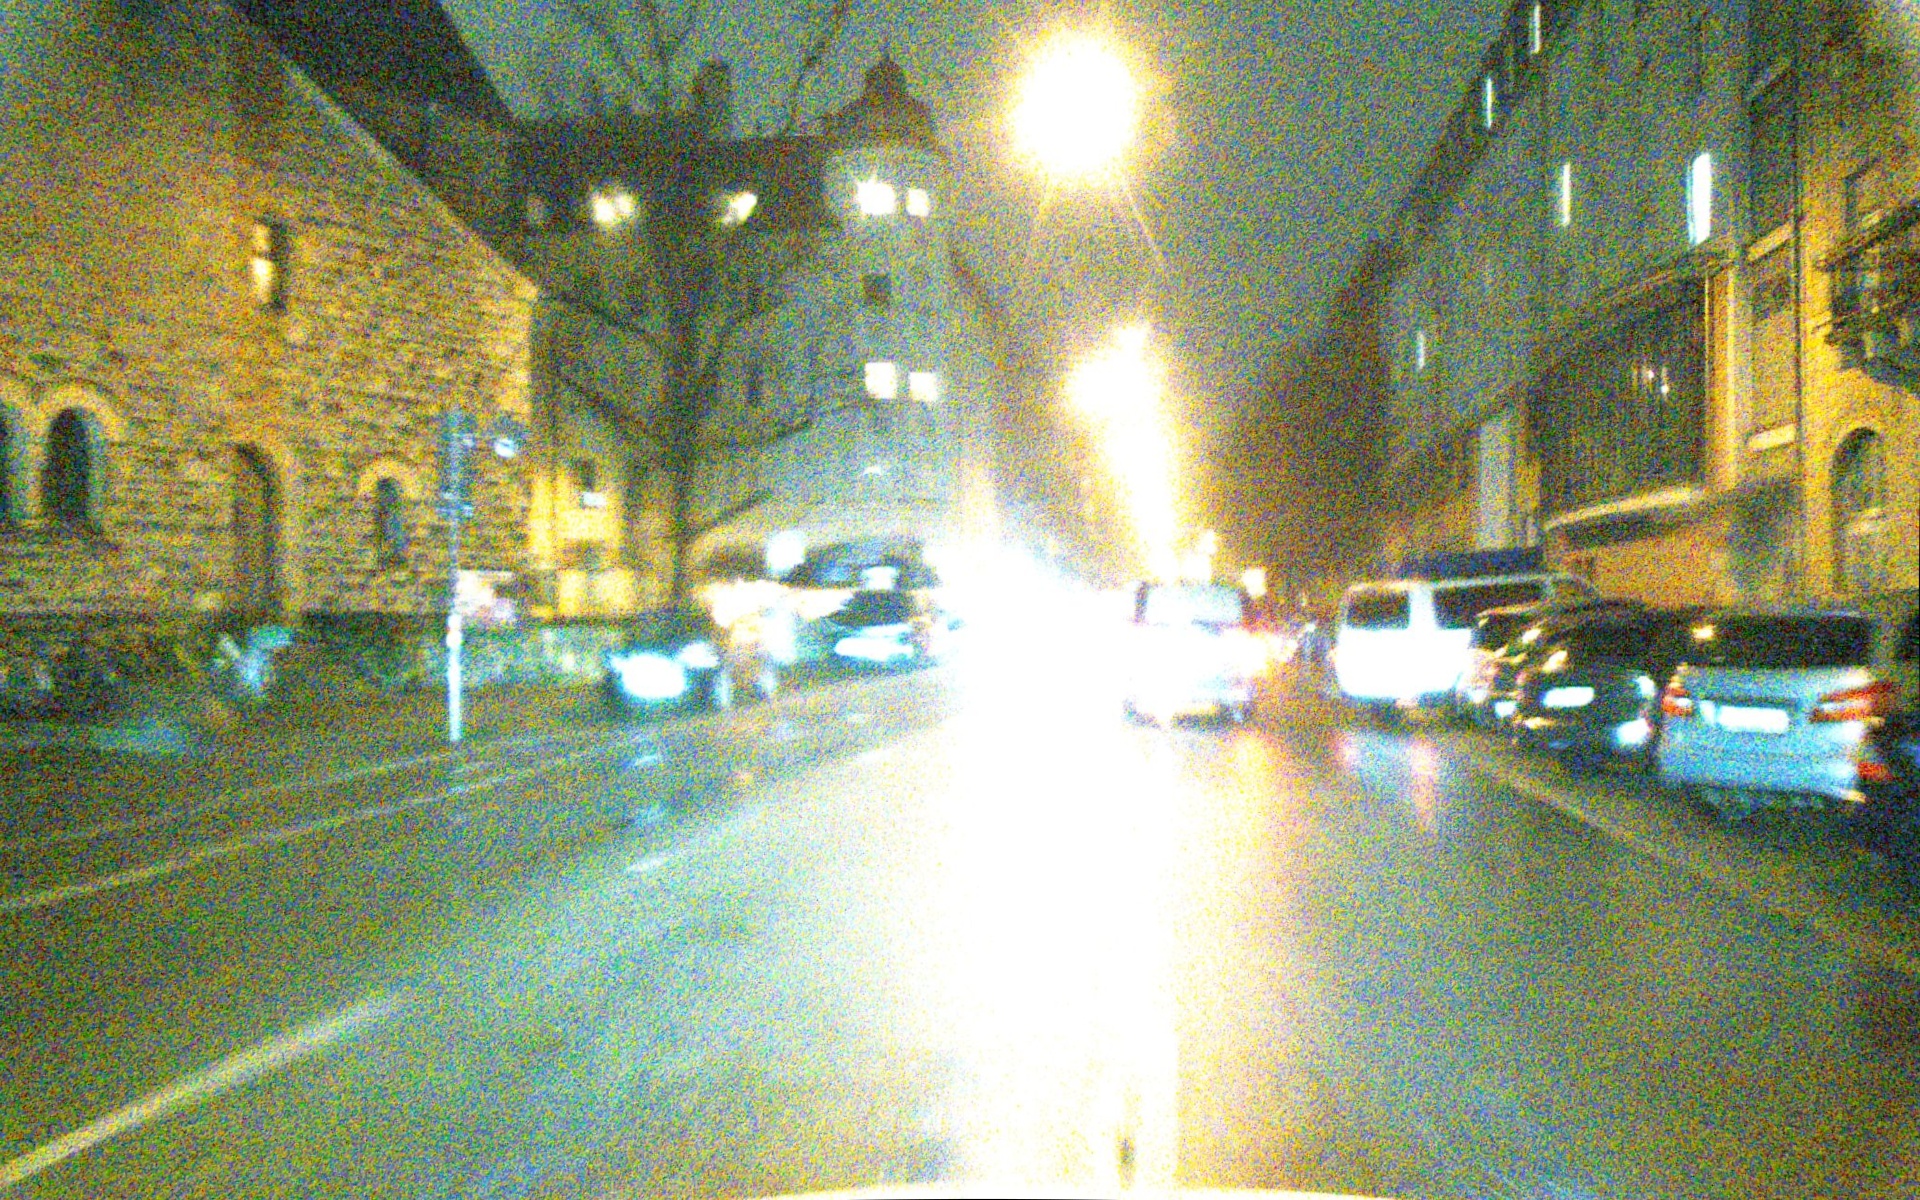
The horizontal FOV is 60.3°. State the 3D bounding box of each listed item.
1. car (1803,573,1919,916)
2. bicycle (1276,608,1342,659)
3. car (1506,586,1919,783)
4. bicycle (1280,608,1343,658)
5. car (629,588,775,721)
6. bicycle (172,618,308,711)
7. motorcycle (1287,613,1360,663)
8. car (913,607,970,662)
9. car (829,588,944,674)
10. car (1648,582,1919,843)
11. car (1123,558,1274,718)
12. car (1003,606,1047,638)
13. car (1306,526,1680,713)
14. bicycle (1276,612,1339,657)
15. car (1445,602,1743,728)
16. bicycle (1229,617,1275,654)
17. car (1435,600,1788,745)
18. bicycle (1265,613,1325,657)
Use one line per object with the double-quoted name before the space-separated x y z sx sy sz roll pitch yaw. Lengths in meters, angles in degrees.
"car" 5.988 0.658 8.314 3.350 1.588 1.578 0 -1 -30
"bicycle" 8.982 0.855 42.570 1.628 1.256 0.386 -1 0 10
"car" 7.122 0.684 14.959 3.983 1.588 1.739 0 -1 -22
"bicycle" 9.147 0.858 43.071 1.546 1.256 0.418 -1 0 10
"car" -3.743 0.700 23.447 1.780 1.699 4.397 0 0 -12
"bicycle" -9.658 0.854 22.156 1.925 1.201 0.541 -1 -1 26
"motorcycle" 8.882 0.924 40.461 1.599 1.143 0.653 -2 0 0
"car" -0.504 0.982 47.985 1.514 1.468 3.563 2 0 1
"car" -1.646 0.702 38.923 1.827 1.878 4.831 0 0 8
"car" 6.655 0.681 11.608 3.461 1.588 1.579 0 -1 -29
"car" 3.406 0.531 23.837 1.951 2.086 4.003 1 -1 8
"car" 2.925 0.955 73.862 1.619 1.383 4.225 1 0 7
"car" 7.482 0.239 23.170 4.867 2.382 2.212 0 -1 -27
"bicycle" 9.247 0.918 44.038 1.562 1.131 0.418 -1 0 4
"car" 8.016 0.773 20.927 3.397 1.494 1.618 0 -1 -24
"bicycle" 7.748 0.934 43.909 1.185 0.964 0.302 0 -1 4
"car" 7.319 0.751 18.570 3.669 1.494 1.601 0 0 -24
"bicycle" 9.116 0.943 45.032 1.562 1.178 0.418 0 -1 4
